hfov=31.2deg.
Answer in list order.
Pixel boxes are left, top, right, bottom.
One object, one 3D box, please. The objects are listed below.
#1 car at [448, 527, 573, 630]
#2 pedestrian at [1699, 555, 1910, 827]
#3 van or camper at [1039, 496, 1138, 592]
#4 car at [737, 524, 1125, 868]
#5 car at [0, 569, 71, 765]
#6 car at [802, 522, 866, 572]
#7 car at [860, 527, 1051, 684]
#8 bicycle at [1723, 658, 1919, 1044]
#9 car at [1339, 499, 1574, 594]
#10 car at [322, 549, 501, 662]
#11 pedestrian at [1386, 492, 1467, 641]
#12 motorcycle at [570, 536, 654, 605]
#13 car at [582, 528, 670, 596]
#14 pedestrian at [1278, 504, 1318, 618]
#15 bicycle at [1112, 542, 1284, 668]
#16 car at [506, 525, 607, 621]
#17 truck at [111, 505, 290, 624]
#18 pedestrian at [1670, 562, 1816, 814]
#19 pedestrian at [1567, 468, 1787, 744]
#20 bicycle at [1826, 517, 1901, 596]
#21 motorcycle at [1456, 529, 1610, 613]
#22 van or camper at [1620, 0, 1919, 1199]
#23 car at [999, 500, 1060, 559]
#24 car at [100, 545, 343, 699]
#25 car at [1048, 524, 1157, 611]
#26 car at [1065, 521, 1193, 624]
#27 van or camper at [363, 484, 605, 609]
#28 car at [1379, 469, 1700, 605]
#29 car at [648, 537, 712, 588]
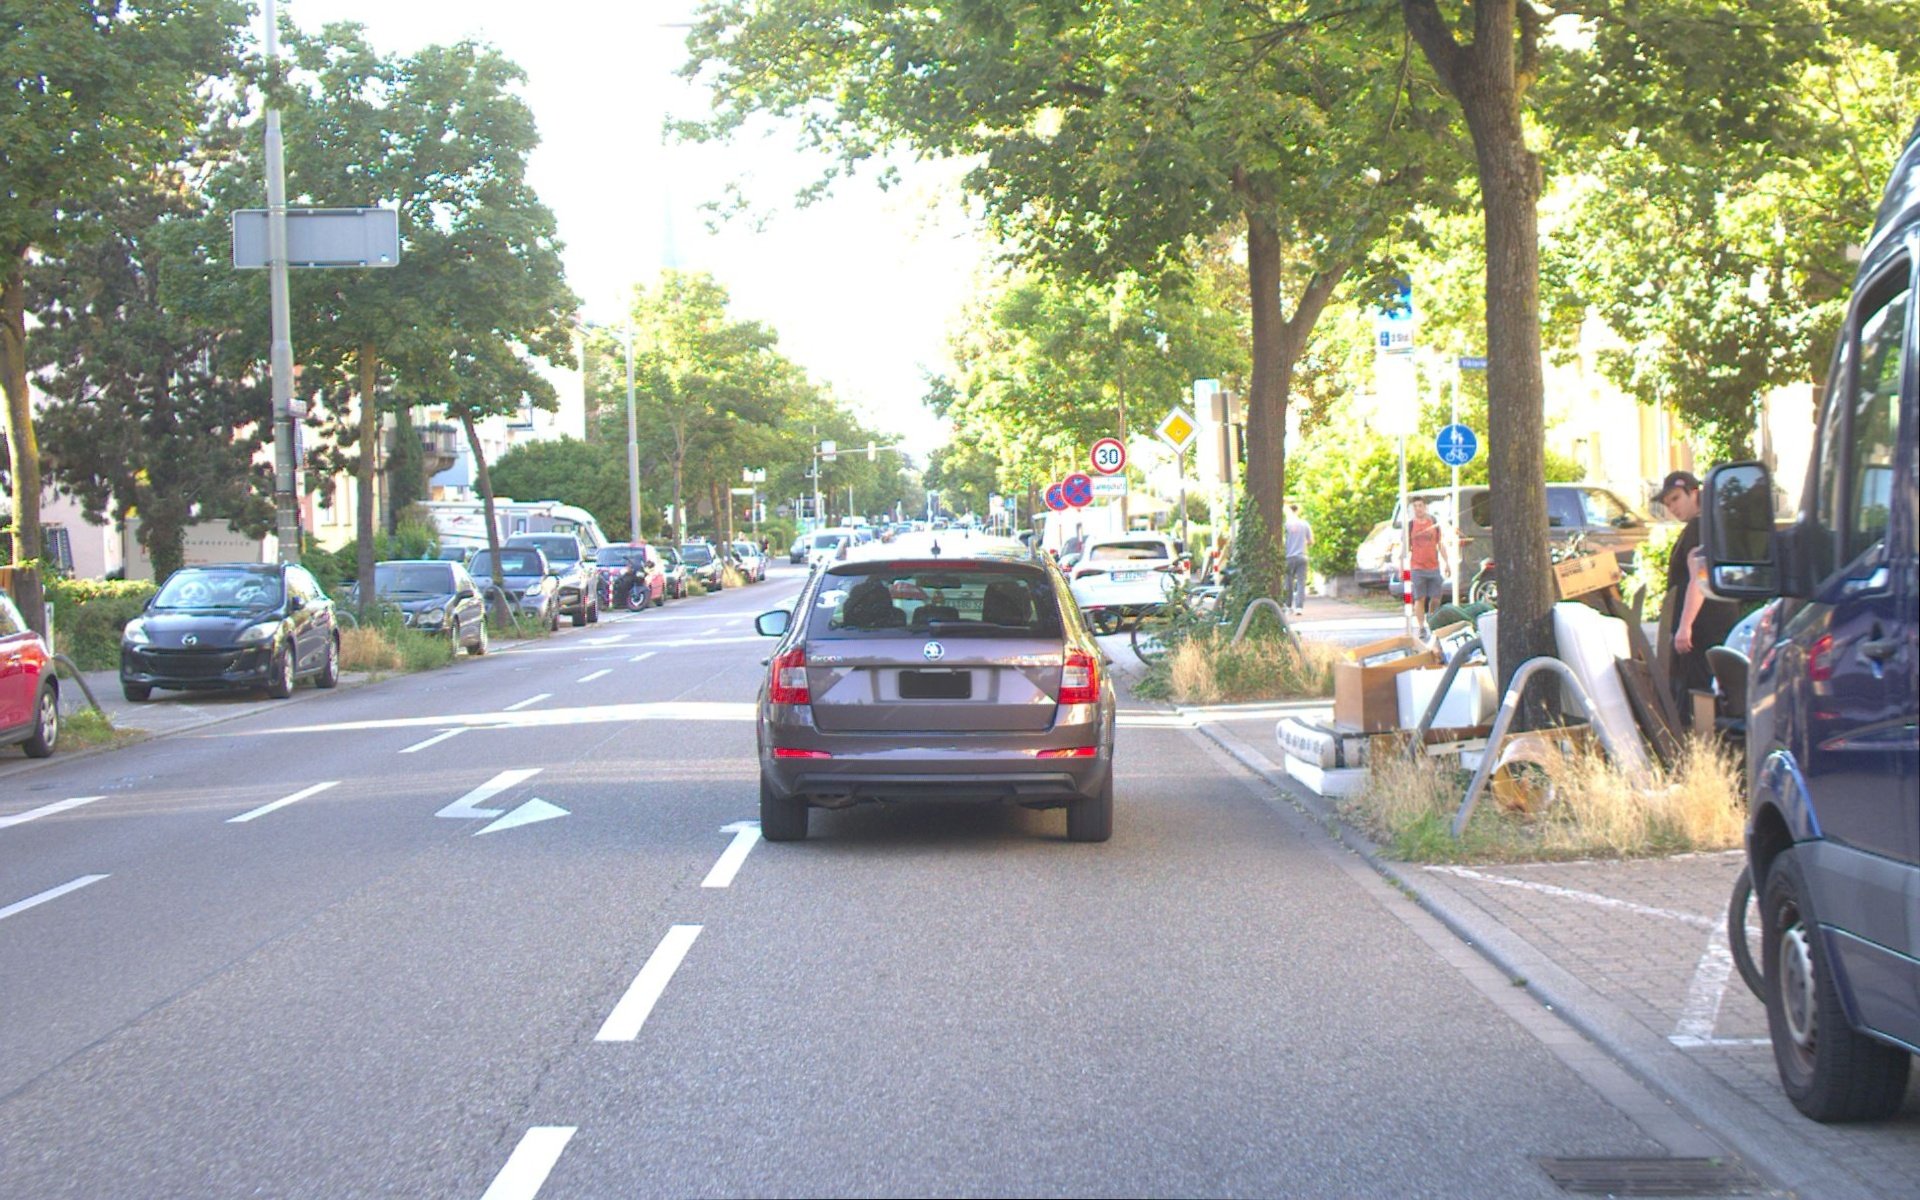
[{"bbox_3d":[-8.096,-0.414,62.205,1.750,1.734,3.591,-2,2,0],"label":"car"},{"bbox_3d":[4.066,0.425,16.587,0.797,1.250,0.701,-2,2,-2],"label":"pedestrian"},{"bbox_3d":[2.827,-1.273,76.309,1.993,2.006,4.000,-2,2,0],"label":"van or camper"},{"bbox_3d":[-0.101,0.399,17.712,1.729,1.488,3.951,-2,2,1],"label":"car"},{"bbox_3d":[-8.027,0.541,25.721,1.717,1.416,3.787,-2,2,0],"label":"car"},{"bbox_3d":[-4.770,-2.035,130.630,1.877,1.751,4.178,-2,2,5],"label":"car"},{"bbox_3d":[-0.099,0.015,36.448,1.729,1.488,3.951,-2,2,-4],"label":"car"},{"bbox_3d":[3.148,0.714,10.097,1.702,1.085,0.404,-2,2,3],"label":"bicycle"},{"bbox_3d":[8.726,-0.946,60.388,3.799,1.520,1.512,-3,2,-22],"label":"car"},{"bbox_3d":[-7.772,0.048,49.088,1.754,1.415,4.426,-2,2,1],"label":"car"},{"bbox_3d":[5.721,-0.422,42.191,0.756,1.790,0.906,-2,2,-5],"label":"pedestrian"},{"bbox_3d":[-7.824,-0.651,77.291,0.764,1.506,2.029,-3,2,-42],"label":"motorcycle"},{"bbox_3d":[-7.968,-0.932,82.367,1.664,1.506,4.179,-2,2,0],"label":"car"},{"bbox_3d":[5.407,-0.628,55.009,0.535,1.788,0.687,-2,2,2],"label":"pedestrian"},{"bbox_3d":[2.541,0.050,36.678,1.671,1.222,0.635,-4,1,13],"label":"bicycle"},{"bbox_3d":[-7.841,-0.555,67.074,1.507,1.751,3.694,-2,2,0],"label":"car"},{"bbox_3d":[-14.094,-0.678,63.886,2.913,2.086,1.546,-2,2,0],"label":"truck"},{"bbox_3d":[4.034,0.446,17.700,0.653,1.250,0.657,-1,2,17],"label":"pedestrian"},{"bbox_3d":[3.975,0.021,19.057,1.062,1.471,0.479,-2,2,-19],"label":"pedestrian"},{"bbox_3d":[11.036,-0.532,42.013,0.342,0.947,1.582,1,1,-6],"label":"bicycle"},{"bbox_3d":[8.124,-0.412,48.756,2.051,1.121,0.525,-2,2,-5],"label":"motorcycle"},{"bbox_3d":[2.942,0.012,6.760,2.068,2.666,5.990,-2,1,0],"label":"van or camper"},{"bbox_3d":[2.248,-2.314,112.092,1.729,1.809,3.951,-2,2,-1],"label":"car"},{"bbox_3d":[-8.077,0.194,37.947,1.717,1.492,4.248,-2,2,0],"label":"car"},{"bbox_3d":[2.507,-0.600,60.906,1.821,1.408,4.111,-2,2,2],"label":"car"},{"bbox_3d":[2.542,-0.451,52.421,1.821,1.408,4.111,-2,2,2],"label":"car"},{"bbox_3d":[-15.691,-1.782,113.635,7.639,3.861,2.000,-2,2,-2],"label":"van or camper"},{"bbox_3d":[8.826,-0.970,52.322,4.532,1.886,1.915,-3,2,-27],"label":"car"},{"bbox_3d":[-8.468,-1.161,104.207,1.664,1.427,3.275,-2,2,0],"label":"car"}]
